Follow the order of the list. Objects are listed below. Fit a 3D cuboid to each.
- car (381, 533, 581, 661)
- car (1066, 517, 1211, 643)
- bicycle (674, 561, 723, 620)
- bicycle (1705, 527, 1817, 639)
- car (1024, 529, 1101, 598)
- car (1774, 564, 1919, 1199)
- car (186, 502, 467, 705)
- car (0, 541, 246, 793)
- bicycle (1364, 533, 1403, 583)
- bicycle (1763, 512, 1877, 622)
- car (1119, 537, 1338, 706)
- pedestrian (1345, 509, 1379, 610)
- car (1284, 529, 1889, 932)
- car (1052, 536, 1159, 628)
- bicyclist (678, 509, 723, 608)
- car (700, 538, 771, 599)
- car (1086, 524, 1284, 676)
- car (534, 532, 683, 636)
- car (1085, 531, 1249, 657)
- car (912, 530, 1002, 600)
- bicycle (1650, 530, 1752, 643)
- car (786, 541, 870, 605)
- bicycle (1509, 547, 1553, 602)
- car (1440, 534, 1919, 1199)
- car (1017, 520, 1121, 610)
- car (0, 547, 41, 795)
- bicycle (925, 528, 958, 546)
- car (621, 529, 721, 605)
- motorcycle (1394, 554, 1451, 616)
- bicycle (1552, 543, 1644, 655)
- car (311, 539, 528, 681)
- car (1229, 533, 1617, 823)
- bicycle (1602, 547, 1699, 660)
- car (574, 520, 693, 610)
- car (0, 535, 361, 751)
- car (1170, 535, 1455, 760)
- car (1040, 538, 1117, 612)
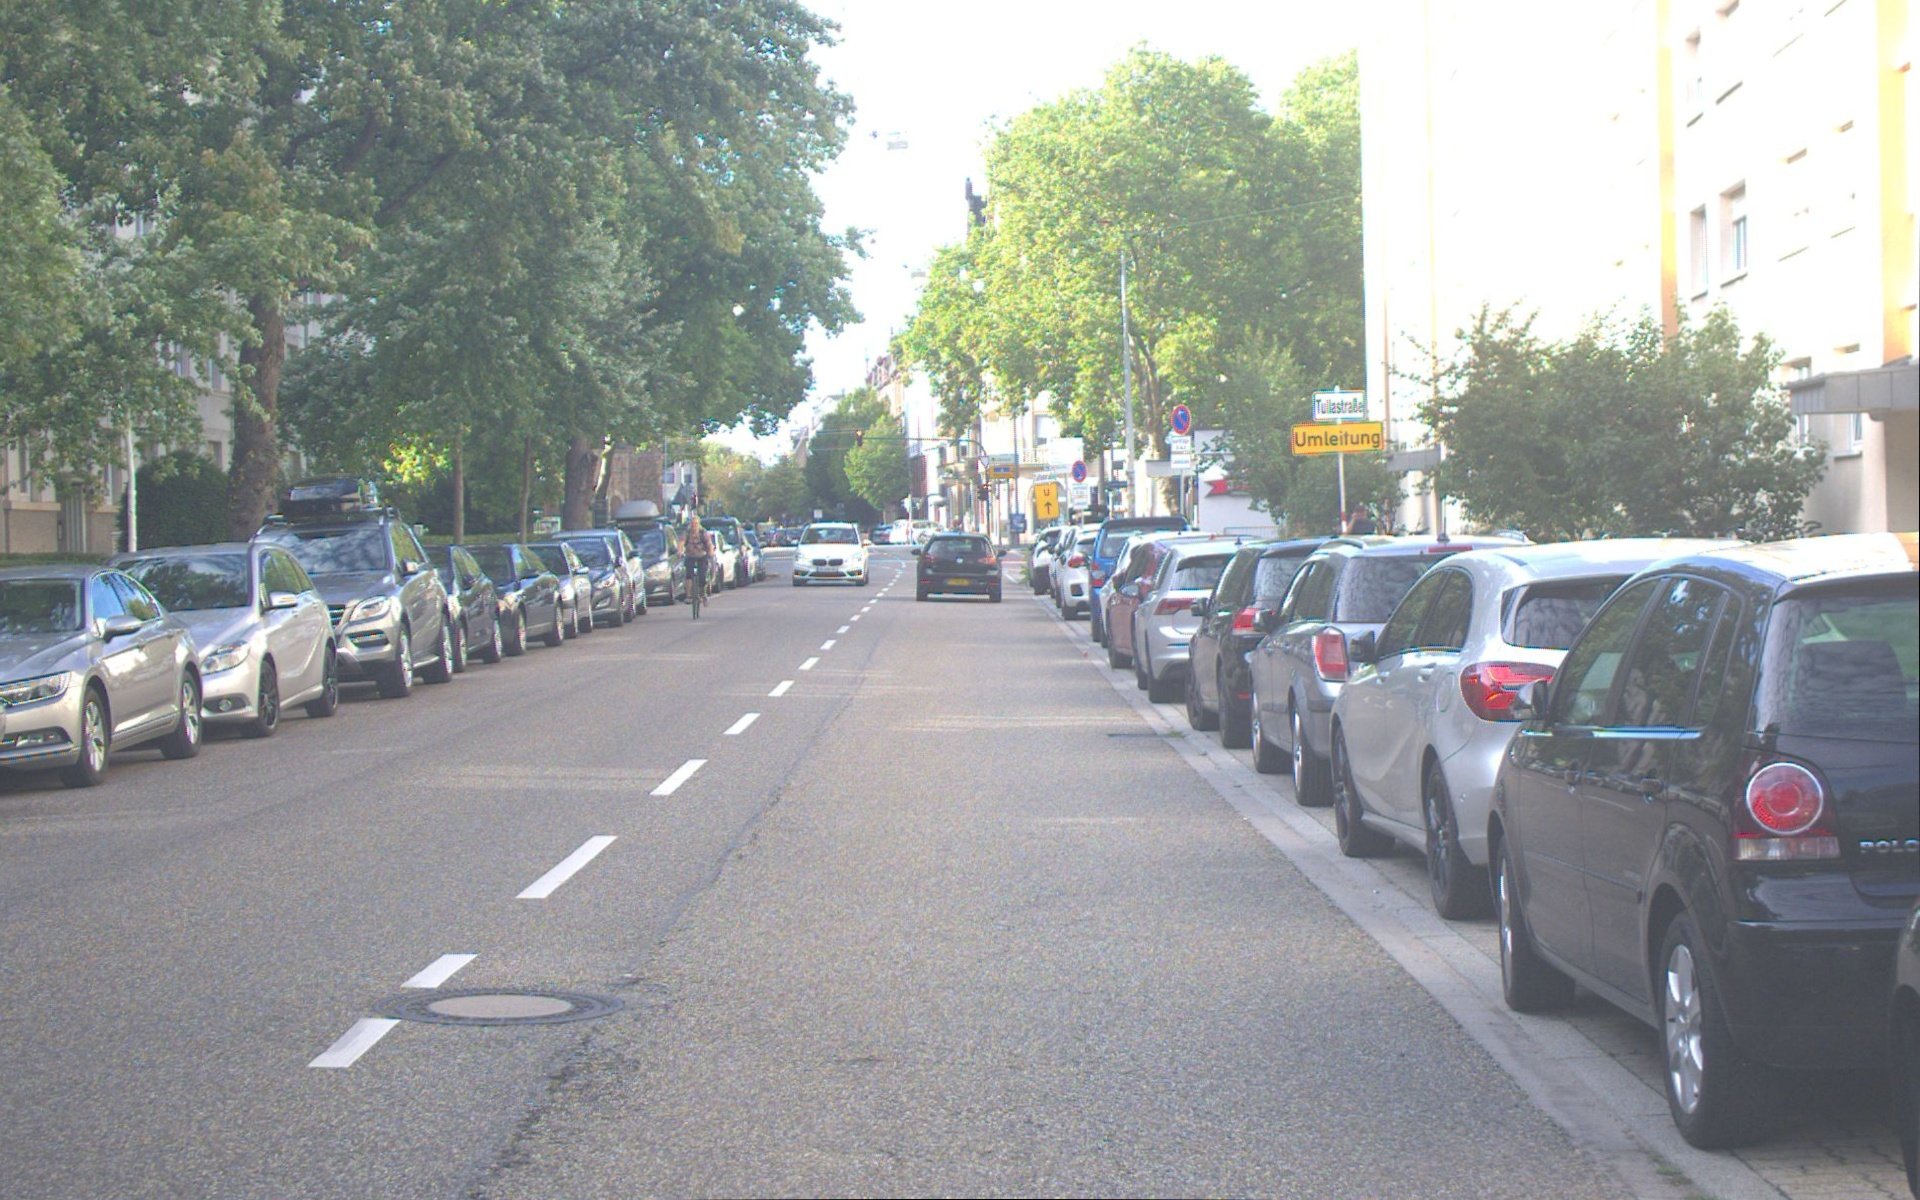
[{"bbox_3d":[-6.207,-0.078,45.046,1.685,1.475,4.451,-4,1,3],"label":"car"},{"bbox_3d":[2.453,-0.302,48.143,1.728,1.644,4.117,-2,1,-1],"label":"car"},{"bbox_3d":[-4.271,-0.162,56.263,0.642,0.920,1.858,-1,1,0],"label":"bicycle"},{"bbox_3d":[9.637,-0.223,41.440,0.726,1.286,2.635,-1,1,0],"label":"bicycle"},{"bbox_3d":[2.372,-0.858,78.817,1.690,1.523,4.237,0,1,3],"label":"car"},{"bbox_3d":[2.377,0.674,4.642,1.683,1.430,4.206,-2,1,2],"label":"car"},{"bbox_3d":[-6.213,-0.020,34.285,1.877,1.787,4.971,-3,1,-1],"label":"car"},{"bbox_3d":[-6.327,0.407,23.282,1.855,1.481,4.944,-4,1,0],"label":"car"},{"bbox_3d":[9.700,-0.976,78.874,0.597,1.111,2.209,-2,1,0],"label":"bicycle"},{"bbox_3d":[10.358,-0.409,41.496,0.726,1.286,2.635,0,1,0],"label":"bicycle"},{"bbox_3d":[2.433,0.155,32.000,1.662,1.411,4.059,-2,1,0],"label":"car"},{"bbox_3d":[6.909,-0.703,59.129,0.542,1.715,0.771,0,1,5],"label":"pedestrian"},{"bbox_3d":[2.543,0.445,14.941,1.699,1.458,4.180,-2,1,-2],"label":"car"},{"bbox_3d":[2.429,-0.331,58.309,1.728,1.482,4.641,0,1,1],"label":"car"},{"bbox_3d":[-4.251,-0.680,56.312,0.641,1.595,0.990,-1,1,0],"label":"bicyclist"},{"bbox_3d":[-6.395,-0.922,98.192,1.799,1.614,3.803,-3,1,-1],"label":"car"},{"bbox_3d":[2.397,-0.037,37.544,1.728,1.510,4.192,-2,1,-2],"label":"car"},{"bbox_3d":[-5.581,-0.286,54.983,1.614,1.463,4.013,-5,1,4],"label":"car"},{"bbox_3d":[2.562,-0.106,43.282,1.728,1.456,4.117,-2,1,-1],"label":"car"},{"bbox_3d":[-0.039,-0.741,71.110,1.752,1.408,4.000,0,1,1],"label":"car"},{"bbox_3d":[8.913,-0.179,41.444,0.595,1.286,2.635,-3,1,0],"label":"bicycle"},{"bbox_3d":[-3.275,-0.696,85.785,1.859,1.523,4.011,-1,1,1],"label":"car"},{"bbox_3d":[9.891,-0.448,59.601,0.458,0.924,1.517,-2,1,-1],"label":"bicycle"},{"bbox_3d":[2.488,0.587,9.729,1.683,1.496,3.874,-2,1,0],"label":"car"},{"bbox_3d":[2.003,-0.670,64.293,1.728,1.575,4.117,-2,1,-1],"label":"car"},{"bbox_3d":[-6.273,0.483,17.832,1.738,1.388,4.666,-3,1,-1],"label":"car"},{"bbox_3d":[-1.177,-3.965,217.309,2.022,1.078,0.620,-1,1,-13],"label":"bicycle"},{"bbox_3d":[-6.209,-0.735,74.199,1.700,1.482,3.848,-3,1,1],"label":"car"},{"bbox_3d":[8.008,-0.267,59.639,0.630,1.041,2.394,0,1,-1],"label":"motorcycle"},{"bbox_3d":[7.674,-0.032,41.456,0.604,1.286,2.635,-1,1,0],"label":"bicycle"},{"bbox_3d":[-6.319,0.076,40.606,1.685,1.475,4.119,-4,1,2],"label":"car"},{"bbox_3d":[2.620,0.373,20.357,1.683,1.480,4.293,-2,1,0],"label":"car"},{"bbox_3d":[8.312,0.019,41.473,0.604,1.286,2.635,-2,1,0],"label":"bicycle"},{"bbox_3d":[-6.527,-0.731,69.076,1.799,1.662,4.482,-3,1,1],"label":"car"},{"bbox_3d":[-6.332,0.290,28.433,1.855,1.568,4.460,-2,1,1],"label":"car"},{"bbox_3d":[2.548,0.298,25.650,1.662,1.486,3.942,-2,1,0],"label":"car"},{"bbox_3d":[2.509,-0.547,73.170,1.551,1.552,3.468,0,1,1],"label":"car"}]
